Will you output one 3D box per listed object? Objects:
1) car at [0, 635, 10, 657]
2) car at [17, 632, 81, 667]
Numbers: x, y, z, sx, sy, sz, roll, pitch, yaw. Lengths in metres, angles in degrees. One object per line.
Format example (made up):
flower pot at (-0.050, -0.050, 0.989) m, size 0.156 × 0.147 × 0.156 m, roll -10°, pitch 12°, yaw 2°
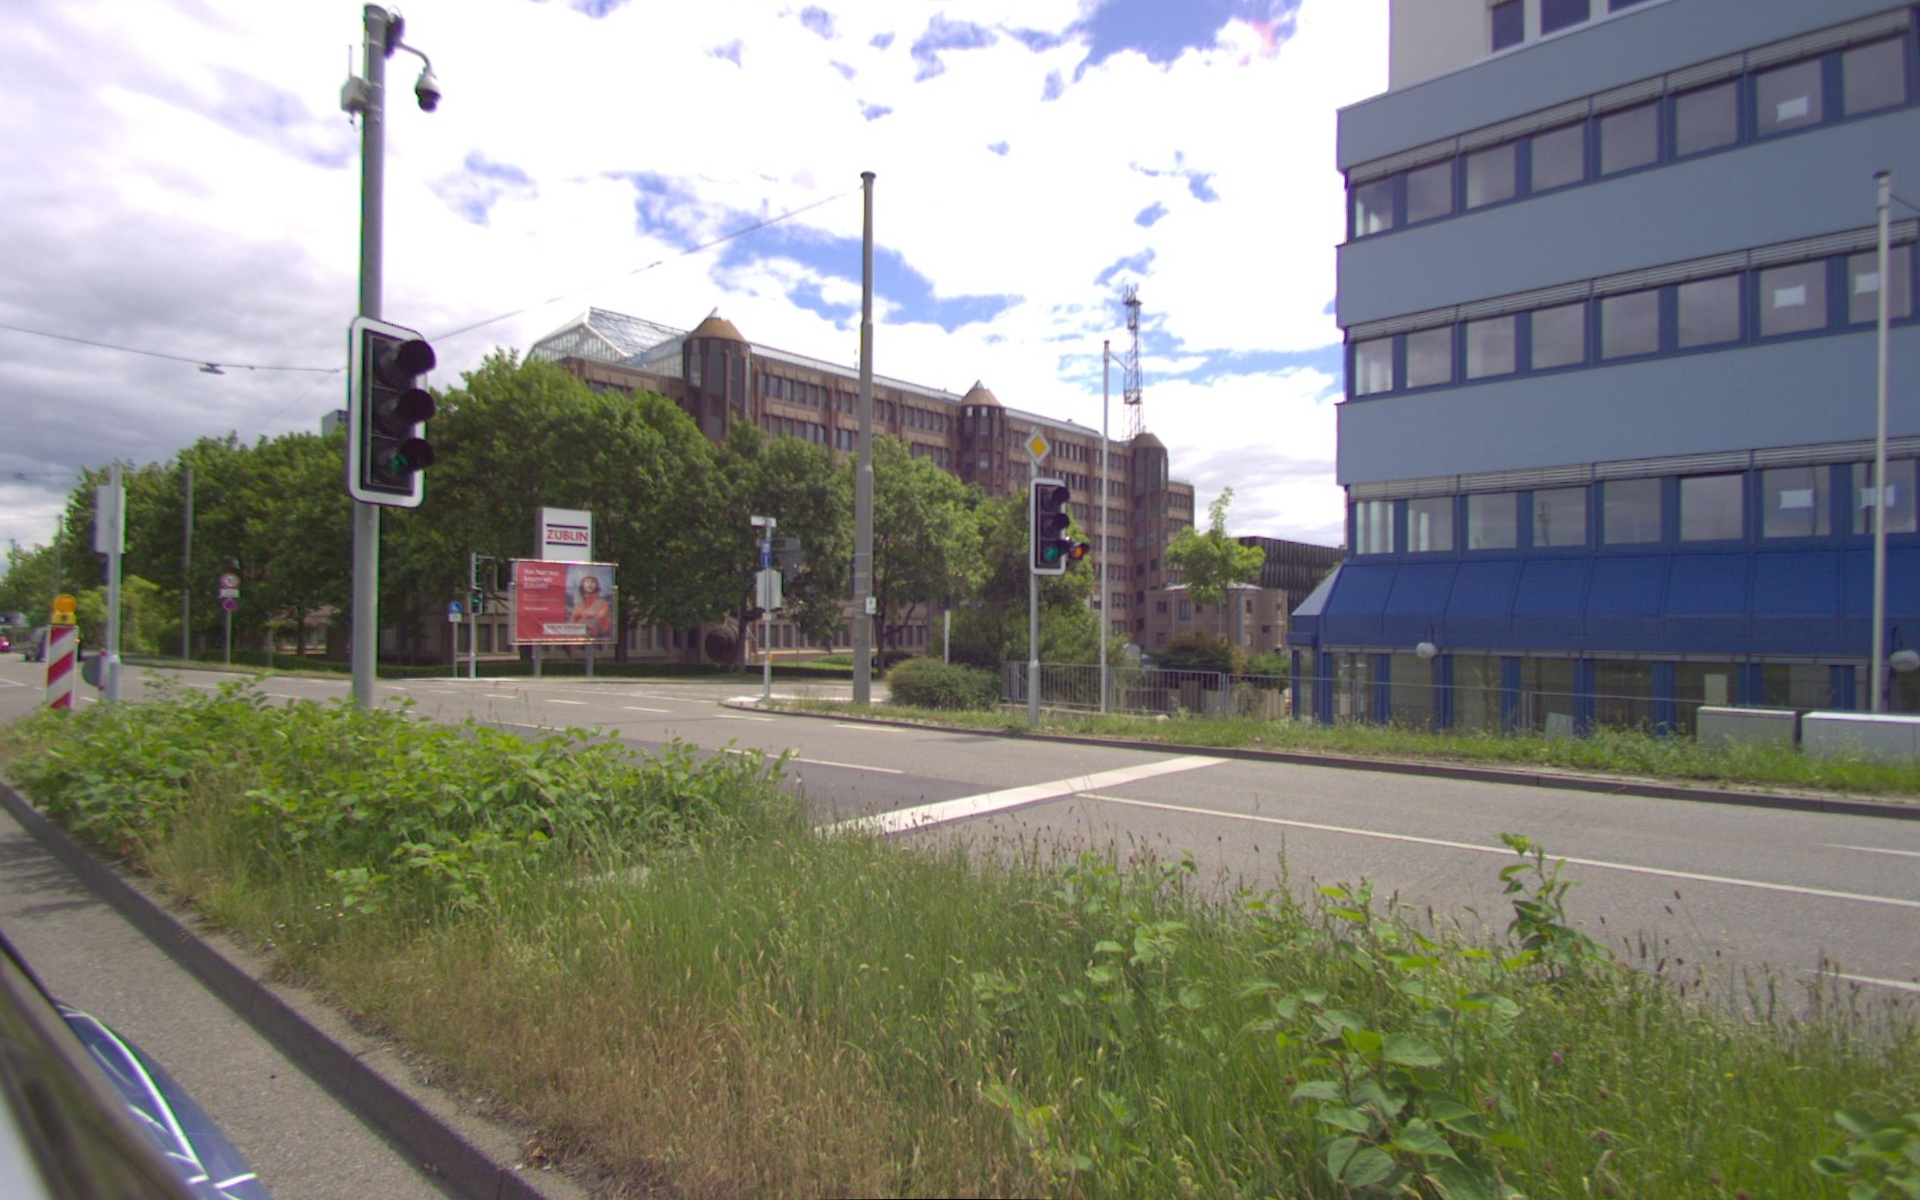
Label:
car at (-65.358, 3.063, 67.936) m, size 3.997 × 1.426 × 1.762 m, roll -1°, pitch -3°, yaw 40°
car at (-46.876, 2.508, 52.044) m, size 4.760 × 1.715 × 1.972 m, roll -2°, pitch -2°, yaw 43°
